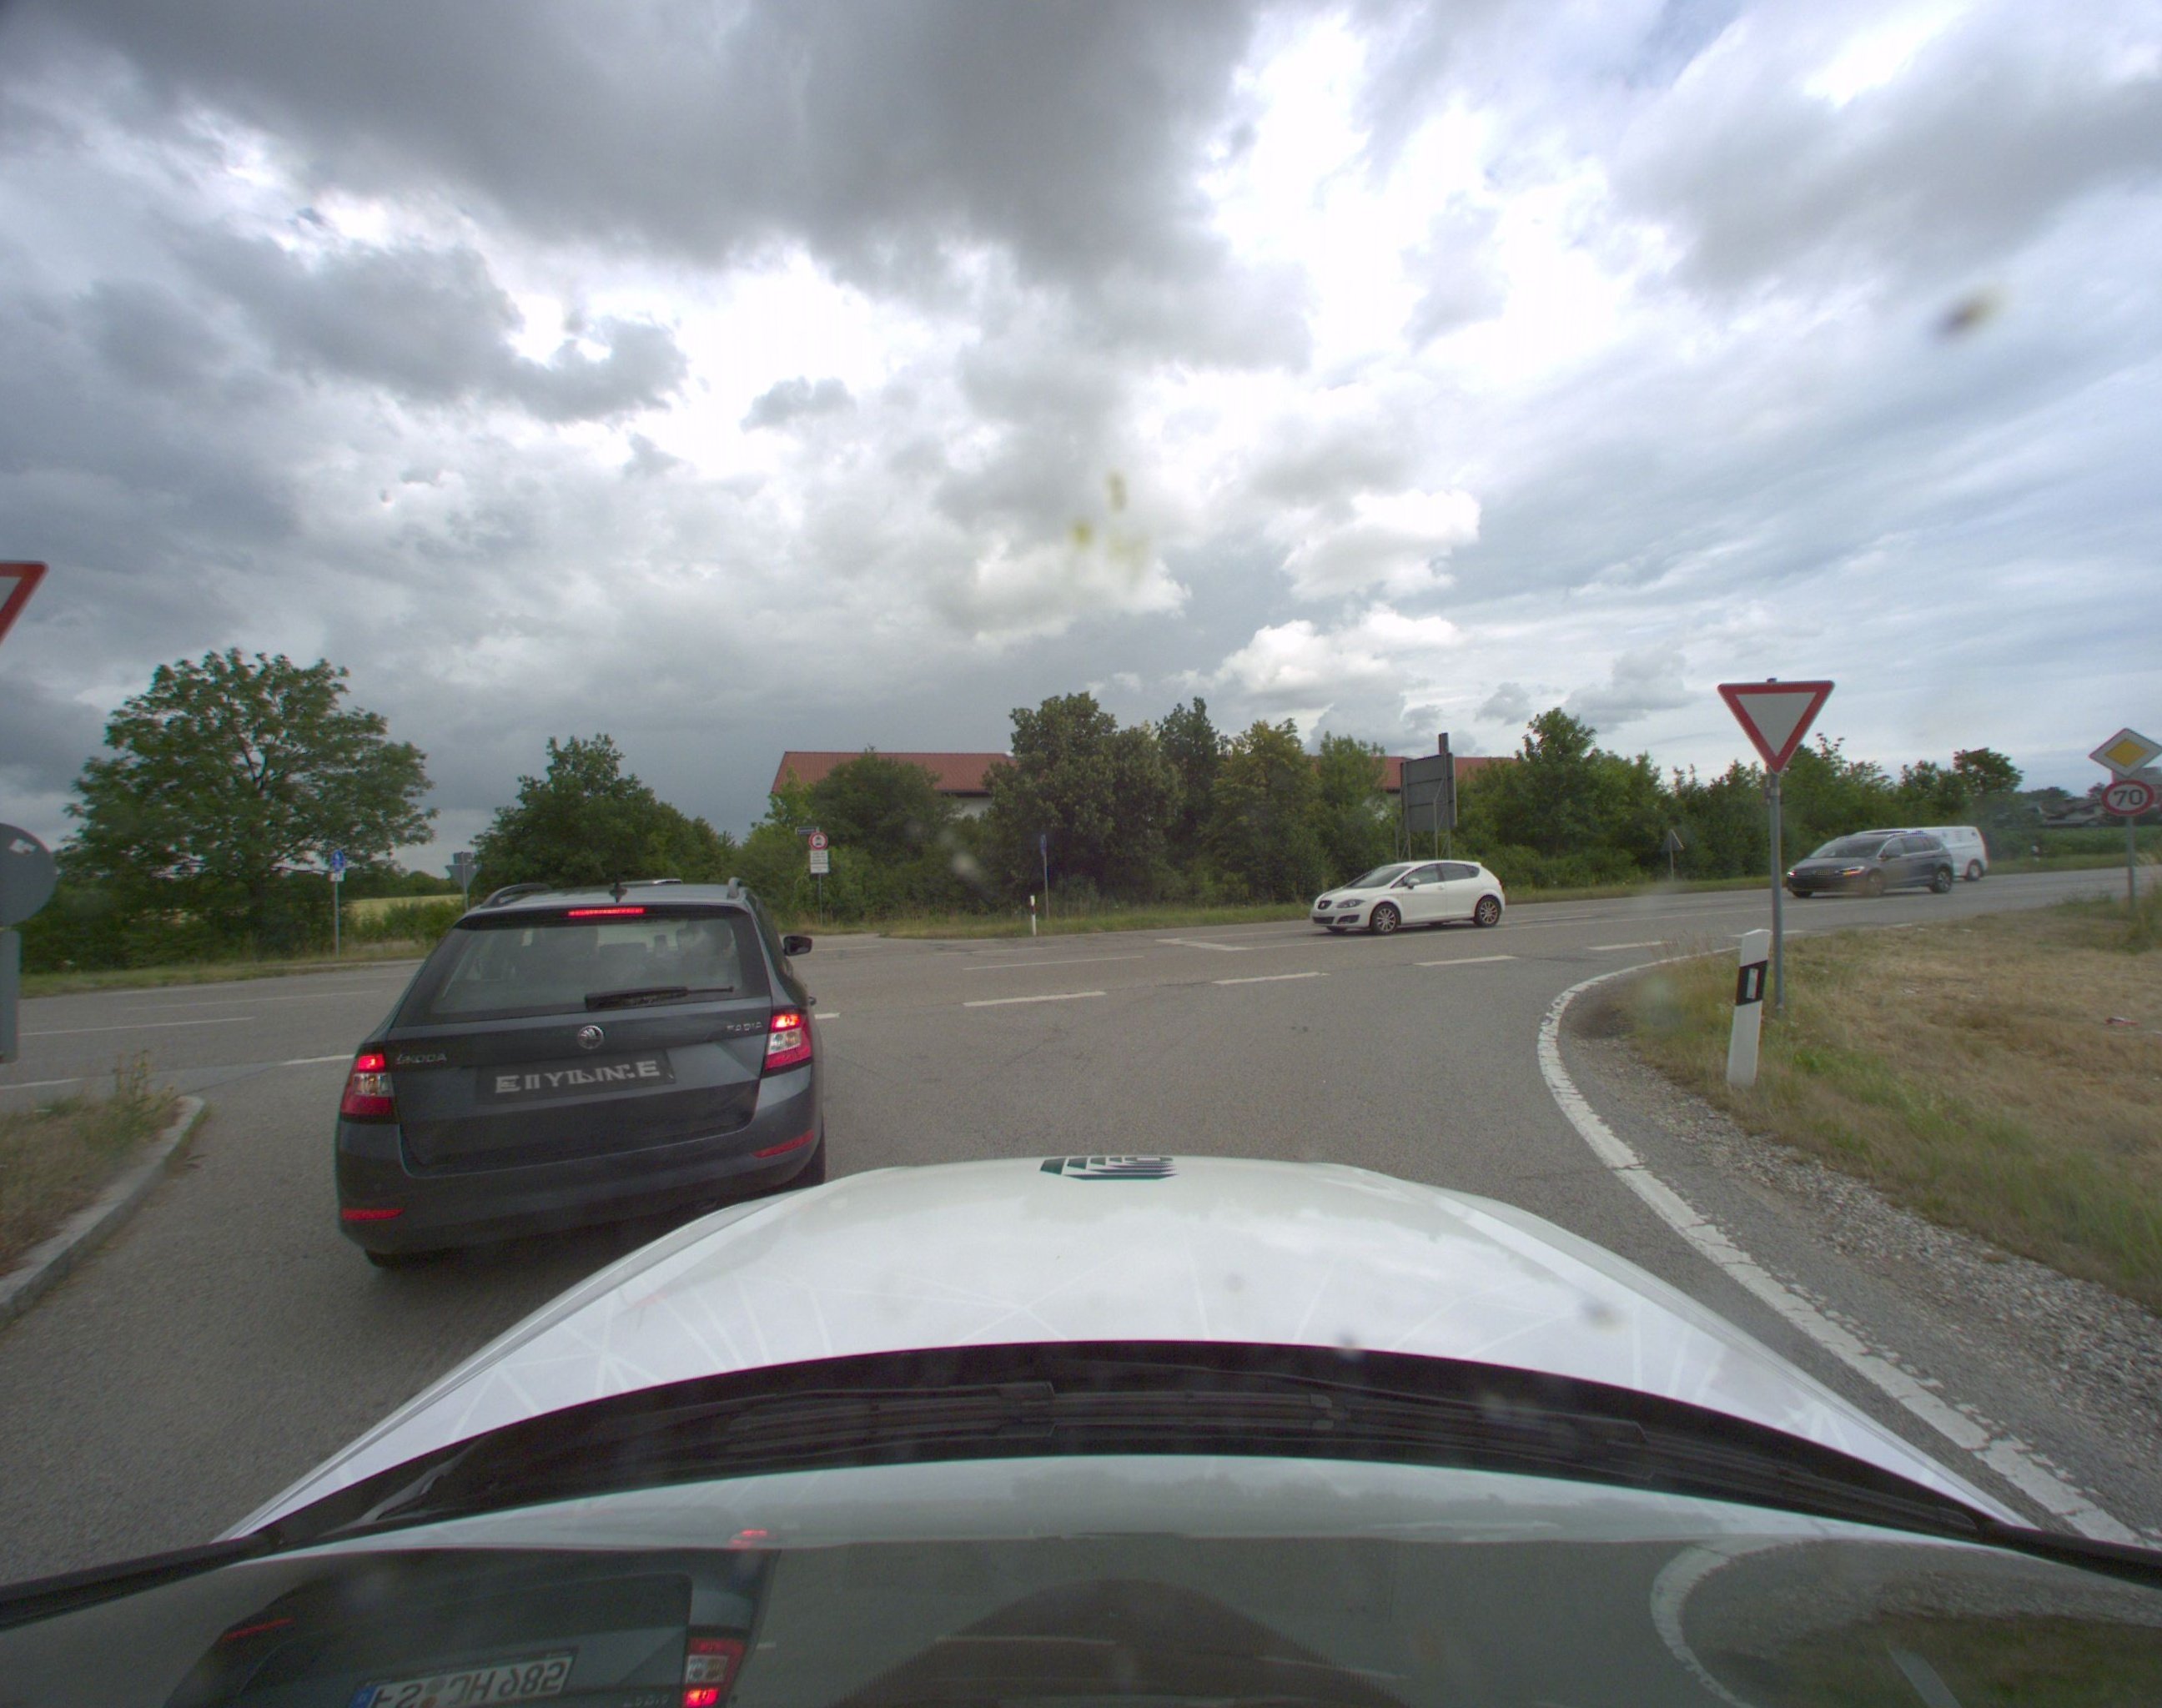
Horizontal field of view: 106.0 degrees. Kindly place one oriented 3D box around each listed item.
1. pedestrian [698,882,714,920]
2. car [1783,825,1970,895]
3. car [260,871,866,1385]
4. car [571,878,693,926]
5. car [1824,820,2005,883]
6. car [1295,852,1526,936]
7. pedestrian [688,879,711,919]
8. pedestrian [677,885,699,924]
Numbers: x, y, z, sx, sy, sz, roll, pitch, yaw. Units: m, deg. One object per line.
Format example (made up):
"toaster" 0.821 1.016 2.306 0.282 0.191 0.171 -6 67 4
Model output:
"pedestrian" -17.750 2.198 38.565 0.490 1.746 0.640 -2 -1 -13
"car" 21.309 0.166 21.841 4.288 1.658 1.743 -2 -2 -18
"car" -2.413 0.848 4.605 1.721 1.447 4.085 -1 -1 -23
"car" -20.380 2.199 36.980 5.038 1.886 2.125 -3 0 23
"car" 28.523 -0.085 27.882 5.387 1.886 2.100 -2 -1 -18
"car" 6.911 0.807 17.139 4.312 1.408 1.808 -3 -2 -19
"pedestrian" -17.365 2.042 37.056 0.724 1.723 0.788 -2 -1 -13
"pedestrian" -18.288 2.336 37.913 0.701 1.723 0.730 -2 -1 -10
